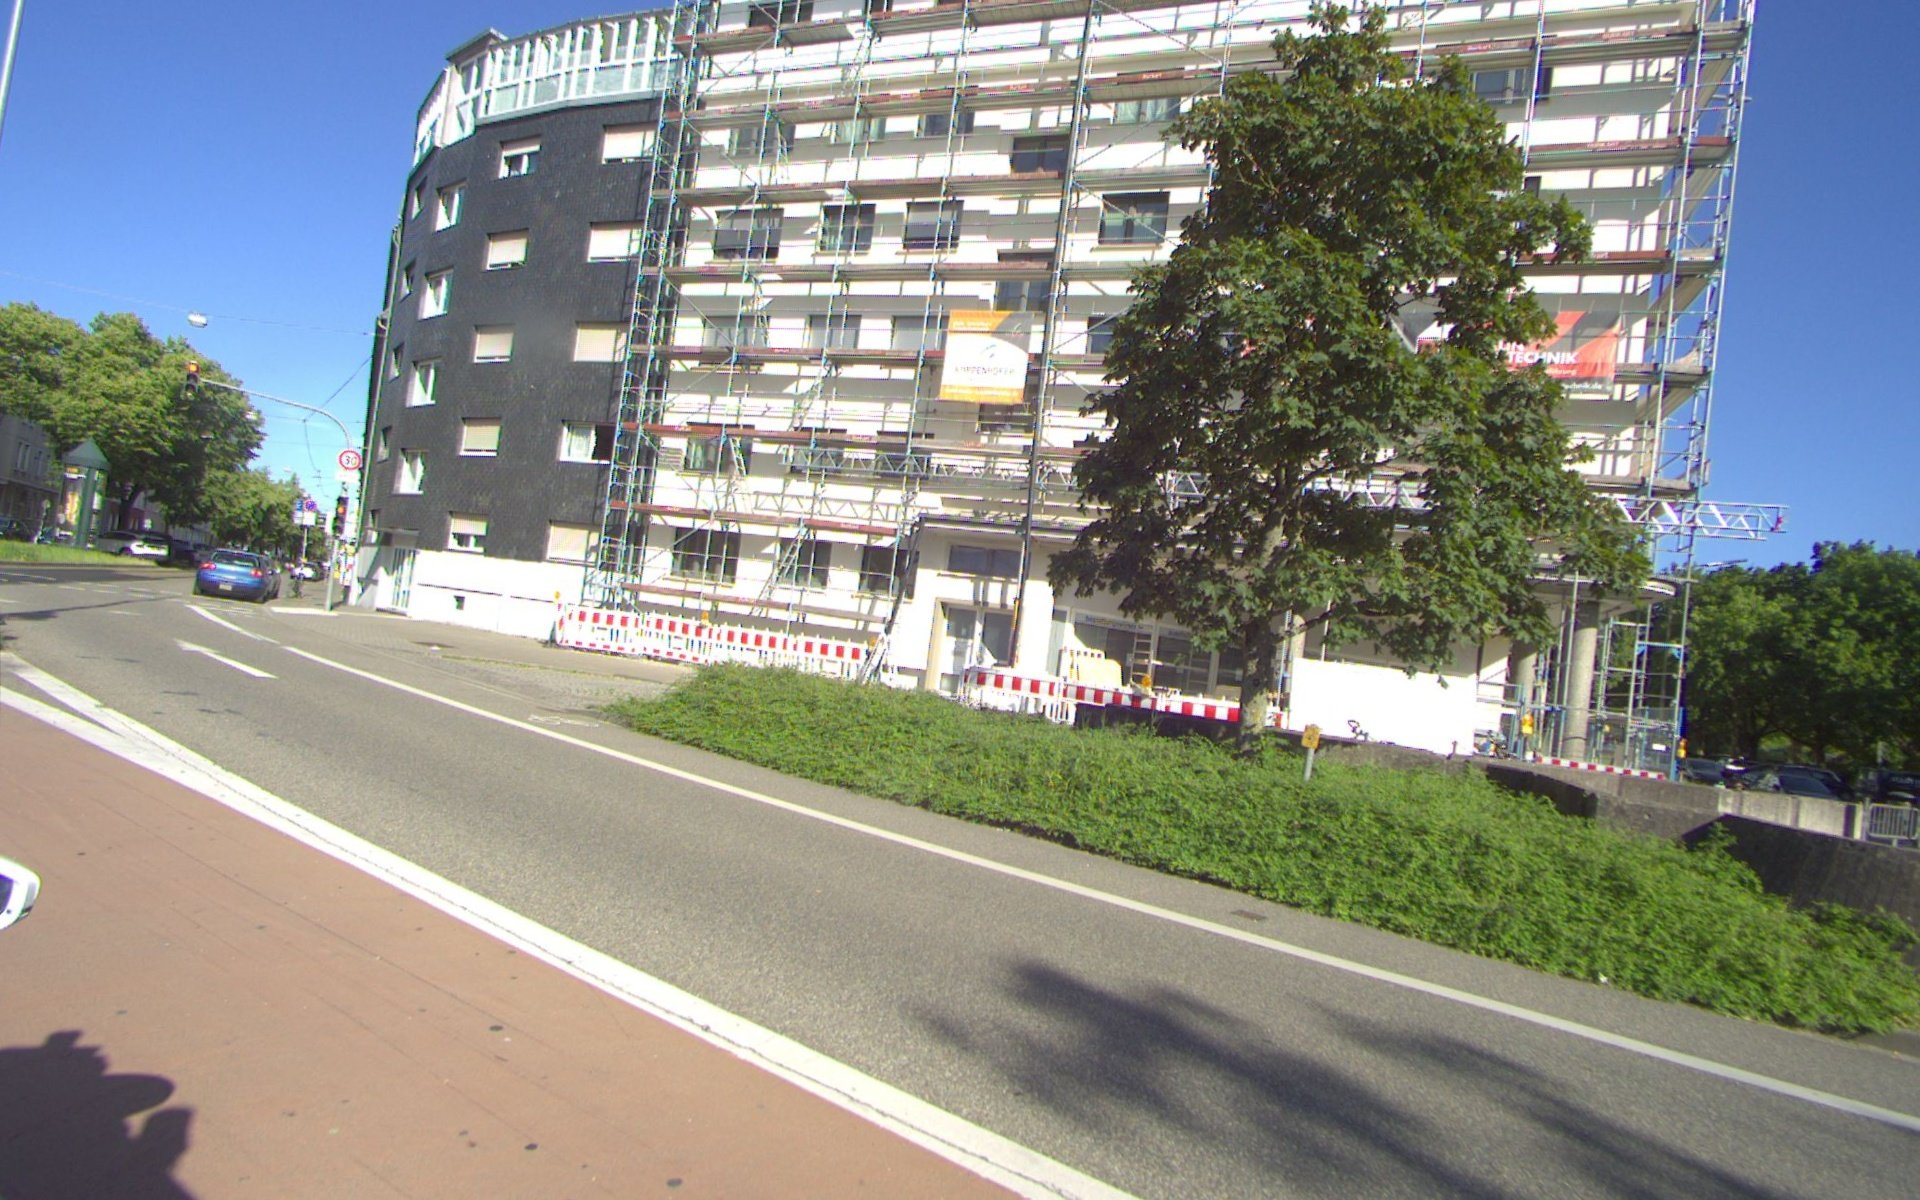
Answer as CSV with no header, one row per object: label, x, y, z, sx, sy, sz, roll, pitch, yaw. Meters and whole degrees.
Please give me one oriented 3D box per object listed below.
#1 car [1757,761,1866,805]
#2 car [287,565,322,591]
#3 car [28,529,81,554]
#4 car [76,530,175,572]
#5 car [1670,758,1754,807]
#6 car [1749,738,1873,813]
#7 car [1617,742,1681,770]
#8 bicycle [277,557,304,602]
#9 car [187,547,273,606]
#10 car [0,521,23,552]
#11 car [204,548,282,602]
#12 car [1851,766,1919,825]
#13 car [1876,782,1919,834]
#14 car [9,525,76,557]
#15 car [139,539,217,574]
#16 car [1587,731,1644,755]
car,45.477,9.748,53.836,3.929,1.673,2.002,5,-4,25
car,-51.394,-1.688,78.940,1.980,1.635,3.973,9,-5,-30
car,-64.727,-4.163,71.948,1.981,1.410,3.969,9,-3,-32
car,-44.856,-2.631,54.103,3.923,1.611,1.914,7,-2,11
car,32.713,7.905,43.896,1.964,1.679,4.005,5,-5,24
car,29.373,5.990,34.883,1.963,2.035,4.004,6,-3,22
car,56.692,12.836,82.842,3.927,1.673,2.003,6,-4,22
bicycle,-24.772,-0.764,37.226,0.569,1.528,2.785,8,-3,-32
car,-22.351,-0.735,30.916,1.765,1.458,3.588,10,-3,-33
car,-49.985,-3.385,51.446,1.979,1.489,3.973,9,-3,-29
car,-24.925,-0.872,35.086,1.808,1.525,3.968,9,-3,-32
car,40.426,8.364,42.036,4.275,2.096,2.000,6,-3,27
car,32.363,7.036,33.233,1.648,1.519,3.567,7,-3,18
car,-56.039,-3.573,61.513,1.979,1.504,3.973,9,-3,-29
car,-55.036,-3.051,70.846,3.766,1.805,1.835,9,-3,-19
car,60.122,13.106,92.386,3.927,1.673,2.003,6,-4,22
